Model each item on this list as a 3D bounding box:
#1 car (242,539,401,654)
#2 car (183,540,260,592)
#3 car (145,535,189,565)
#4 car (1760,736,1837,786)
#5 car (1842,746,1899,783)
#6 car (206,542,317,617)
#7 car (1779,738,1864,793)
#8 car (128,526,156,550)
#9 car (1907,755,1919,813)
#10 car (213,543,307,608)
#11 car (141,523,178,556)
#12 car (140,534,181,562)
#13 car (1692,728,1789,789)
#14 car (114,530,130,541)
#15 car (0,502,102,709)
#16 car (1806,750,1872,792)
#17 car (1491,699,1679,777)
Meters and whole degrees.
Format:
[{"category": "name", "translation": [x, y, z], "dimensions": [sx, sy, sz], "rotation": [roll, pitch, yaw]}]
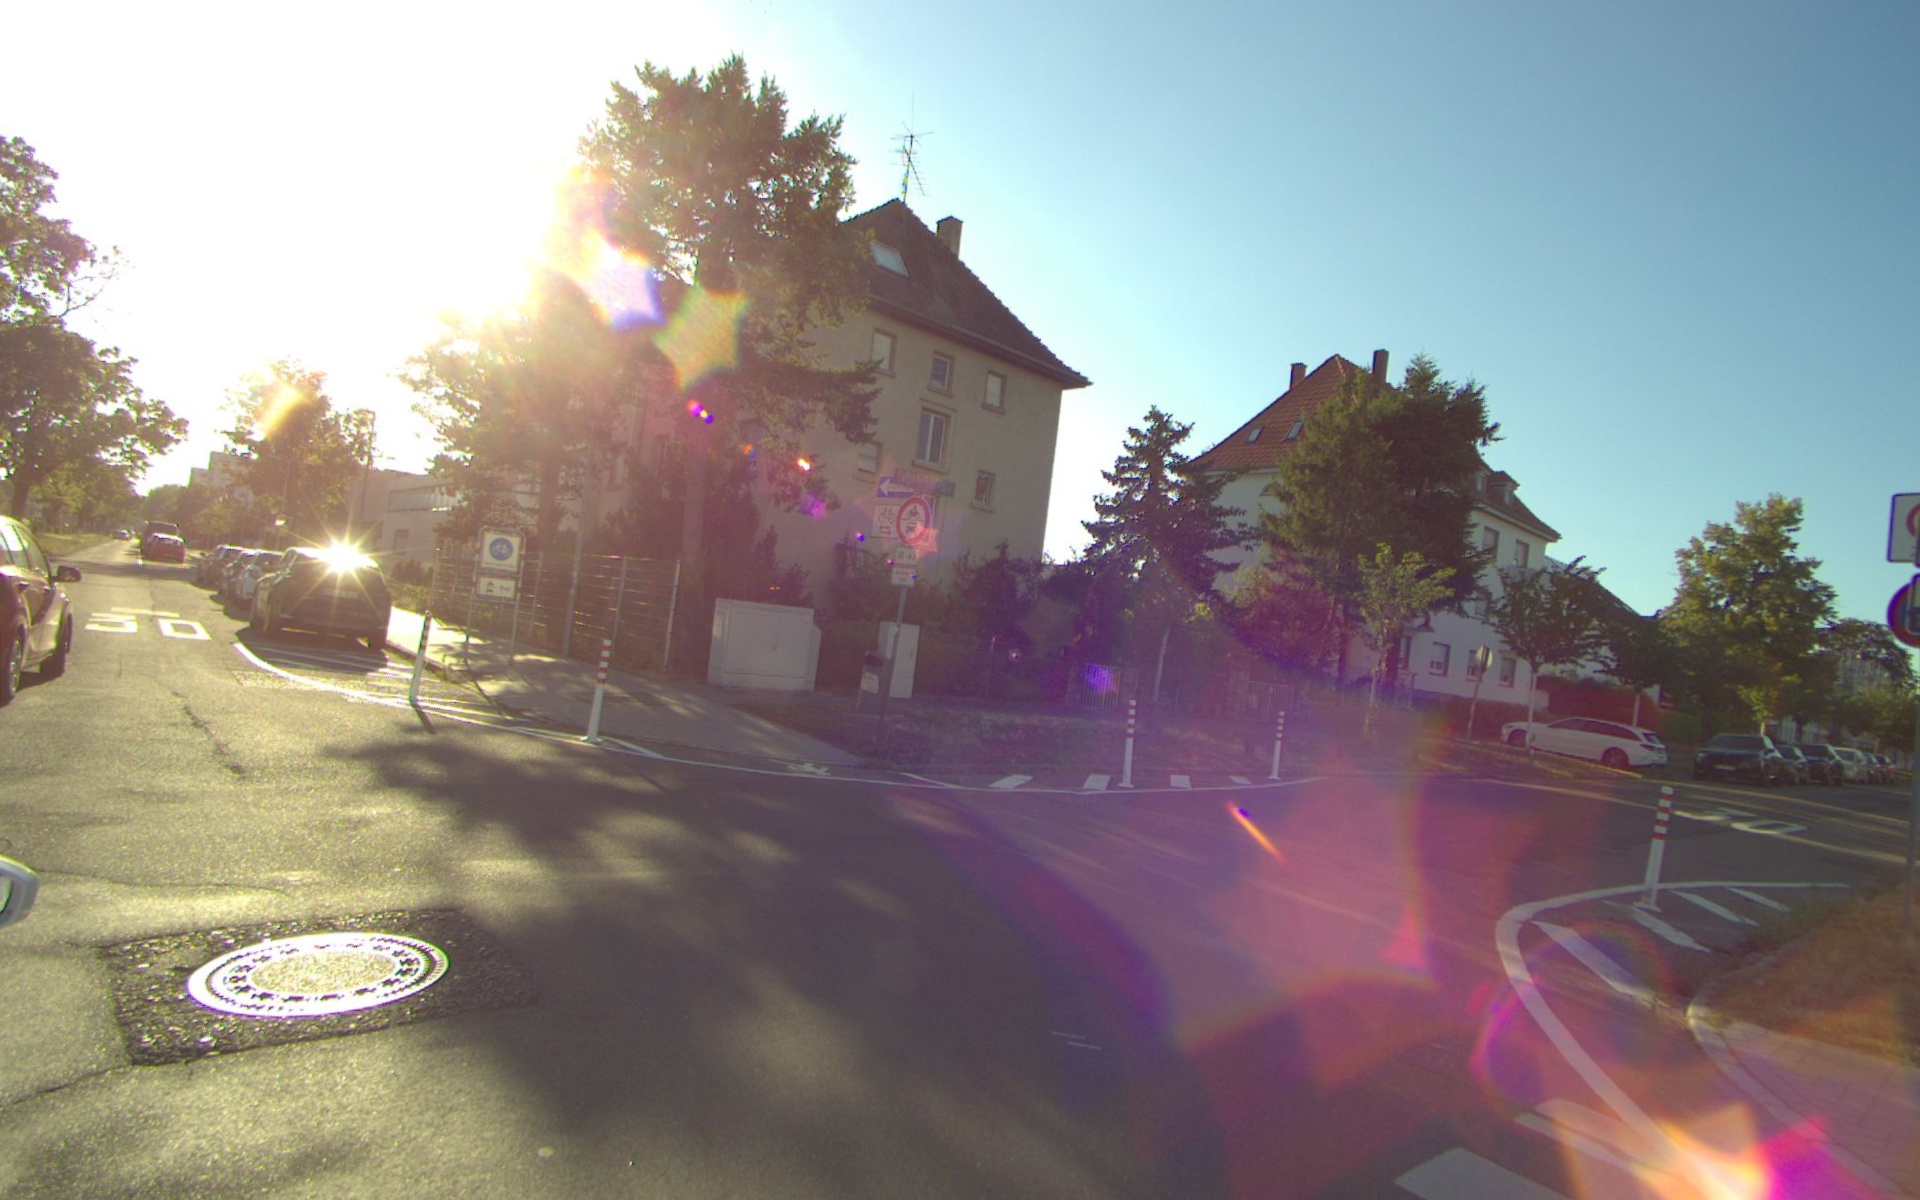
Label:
[{"category": "car", "translation": [-11.815, -0.124, 18.499], "dimensions": [1.811, 1.659, 4.172], "rotation": [11, -4, -39]}, {"category": "car", "translation": [-26.369, -1.239, 35.879], "dimensions": [1.758, 1.544, 3.730], "rotation": [7, -1, -42]}, {"category": "car", "translation": [-48.802, -3.094, 61.873], "dimensions": [1.751, 1.536, 3.716], "rotation": [8, -2, -42]}, {"category": "car", "translation": [34.450, 6.588, 41.279], "dimensions": [4.224, 1.632, 1.947], "rotation": [9, -2, -45]}, {"category": "car", "translation": [48.951, 8.826, 54.044], "dimensions": [4.224, 1.632, 1.947], "rotation": [9, -2, -45]}, {"category": "car", "translation": [-17.495, -0.542, 25.134], "dimensions": [1.758, 1.544, 3.730], "rotation": [7, -1, -41]}, {"category": "car", "translation": [31.747, 6.063, 37.036], "dimensions": [4.224, 1.632, 1.947], "rotation": [9, -2, -45]}, {"category": "car", "translation": [-84.368, -6.427, 103.729], "dimensions": [1.985, 2.148, 3.957], "rotation": [8, -2, -39]}, {"category": "car", "translation": [30.024, 5.661, 30.147], "dimensions": [4.220, 1.632, 1.949], "rotation": [9, -2, -42]}, {"category": "car", "translation": [-20.273, -0.731, 29.075], "dimensions": [1.724, 1.536, 3.717], "rotation": [8, -2, -41]}, {"category": "car", "translation": [-60.004, -4.544, 75.386], "dimensions": [1.985, 2.148, 3.957], "rotation": [8, -2, -39]}, {"category": "car", "translation": [-51.733, -3.370, 65.040], "dimensions": [1.724, 1.536, 3.716], "rotation": [8, -2, -42]}, {"category": "car", "translation": [26.098, 5.276, 33.593], "dimensions": [4.224, 1.632, 1.947], "rotation": [9, -2, -45]}, {"category": "car", "translation": [-143.696, -11.075, 172.533], "dimensions": [1.859, 1.637, 3.955], "rotation": [8, -2, -41]}, {"category": "car", "translation": [-8.781, -0.106, 8.498], "dimensions": [1.753, 1.544, 3.740], "rotation": [7, -1, -33]}, {"category": "car", "translation": [41.870, 8.109, 47.888], "dimensions": [4.224, 1.632, 1.947], "rotation": [9, -2, -45]}, {"category": "car", "translation": [20.543, 4.523, 33.235], "dimensions": [1.959, 1.633, 4.780], "rotation": [8, 0, -42]}]
